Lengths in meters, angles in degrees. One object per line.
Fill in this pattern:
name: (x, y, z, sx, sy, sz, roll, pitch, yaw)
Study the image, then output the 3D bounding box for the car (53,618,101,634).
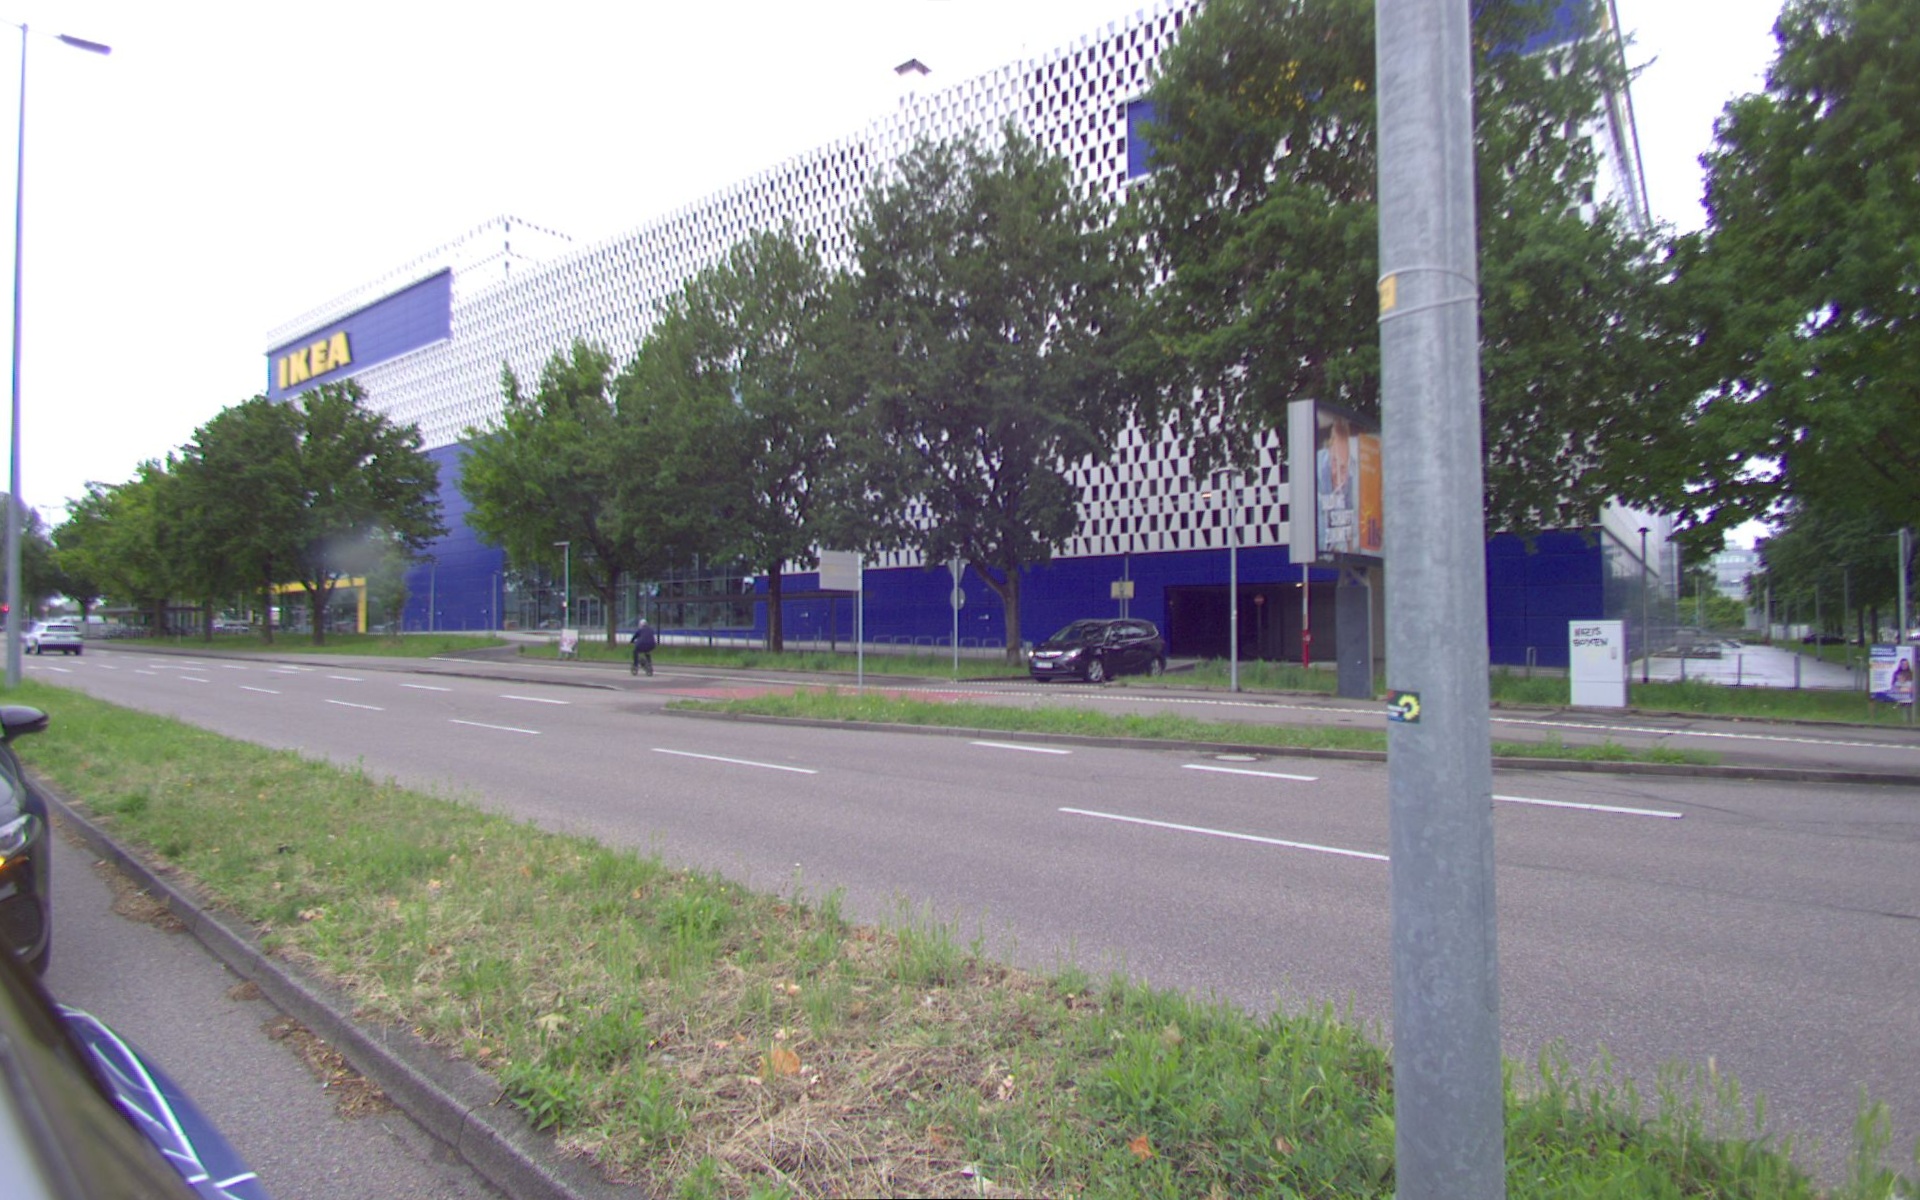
car: (-121.159, 3.558, 138.901, 1.998, 2.029, 4.650, -1, 0, 38)

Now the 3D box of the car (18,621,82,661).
car: (-46.343, 2.039, 51.507, 3.921, 1.900, 1.824, -1, 0, 39)

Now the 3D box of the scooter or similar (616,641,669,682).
scooter or similar: (-9.304, 1.781, 29.648, 1.417, 1.134, 0.585, -1, 2, 24)

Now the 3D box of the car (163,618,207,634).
car: (-86.303, 2.879, 112.745, 1.741, 1.652, 3.522, -1, 0, 37)

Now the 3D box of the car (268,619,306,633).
car: (-93.500, 3.564, 140.681, 1.994, 1.829, 3.956, -1, 0, 33)

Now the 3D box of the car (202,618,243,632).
car: (-97.908, 3.310, 134.383, 1.994, 1.829, 3.956, -1, 0, 33)

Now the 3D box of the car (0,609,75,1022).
car: (-5.423, 0.828, 4.398, 4.194, 1.445, 1.835, -2, -1, 41)

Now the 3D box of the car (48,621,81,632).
car: (-161.066, 4.724, 181.982, 1.741, 1.837, 4.239, -1, 0, 37)

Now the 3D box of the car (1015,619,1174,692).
car: (3.544, 1.363, 26.152, 1.849, 1.668, 4.298, -2, -2, 44)

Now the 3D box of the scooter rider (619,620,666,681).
scooter rider: (-9.299, 1.472, 29.658, 1.033, 1.733, 0.791, -1, -1, 24)

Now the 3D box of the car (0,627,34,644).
car: (-119.896, 4.515, 127.900, 1.998, 2.029, 3.948, -1, 0, 38)

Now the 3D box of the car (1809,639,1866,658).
car: (84.563, 4.666, 97.588, 3.991, 1.630, 1.782, -1, 0, 35)
